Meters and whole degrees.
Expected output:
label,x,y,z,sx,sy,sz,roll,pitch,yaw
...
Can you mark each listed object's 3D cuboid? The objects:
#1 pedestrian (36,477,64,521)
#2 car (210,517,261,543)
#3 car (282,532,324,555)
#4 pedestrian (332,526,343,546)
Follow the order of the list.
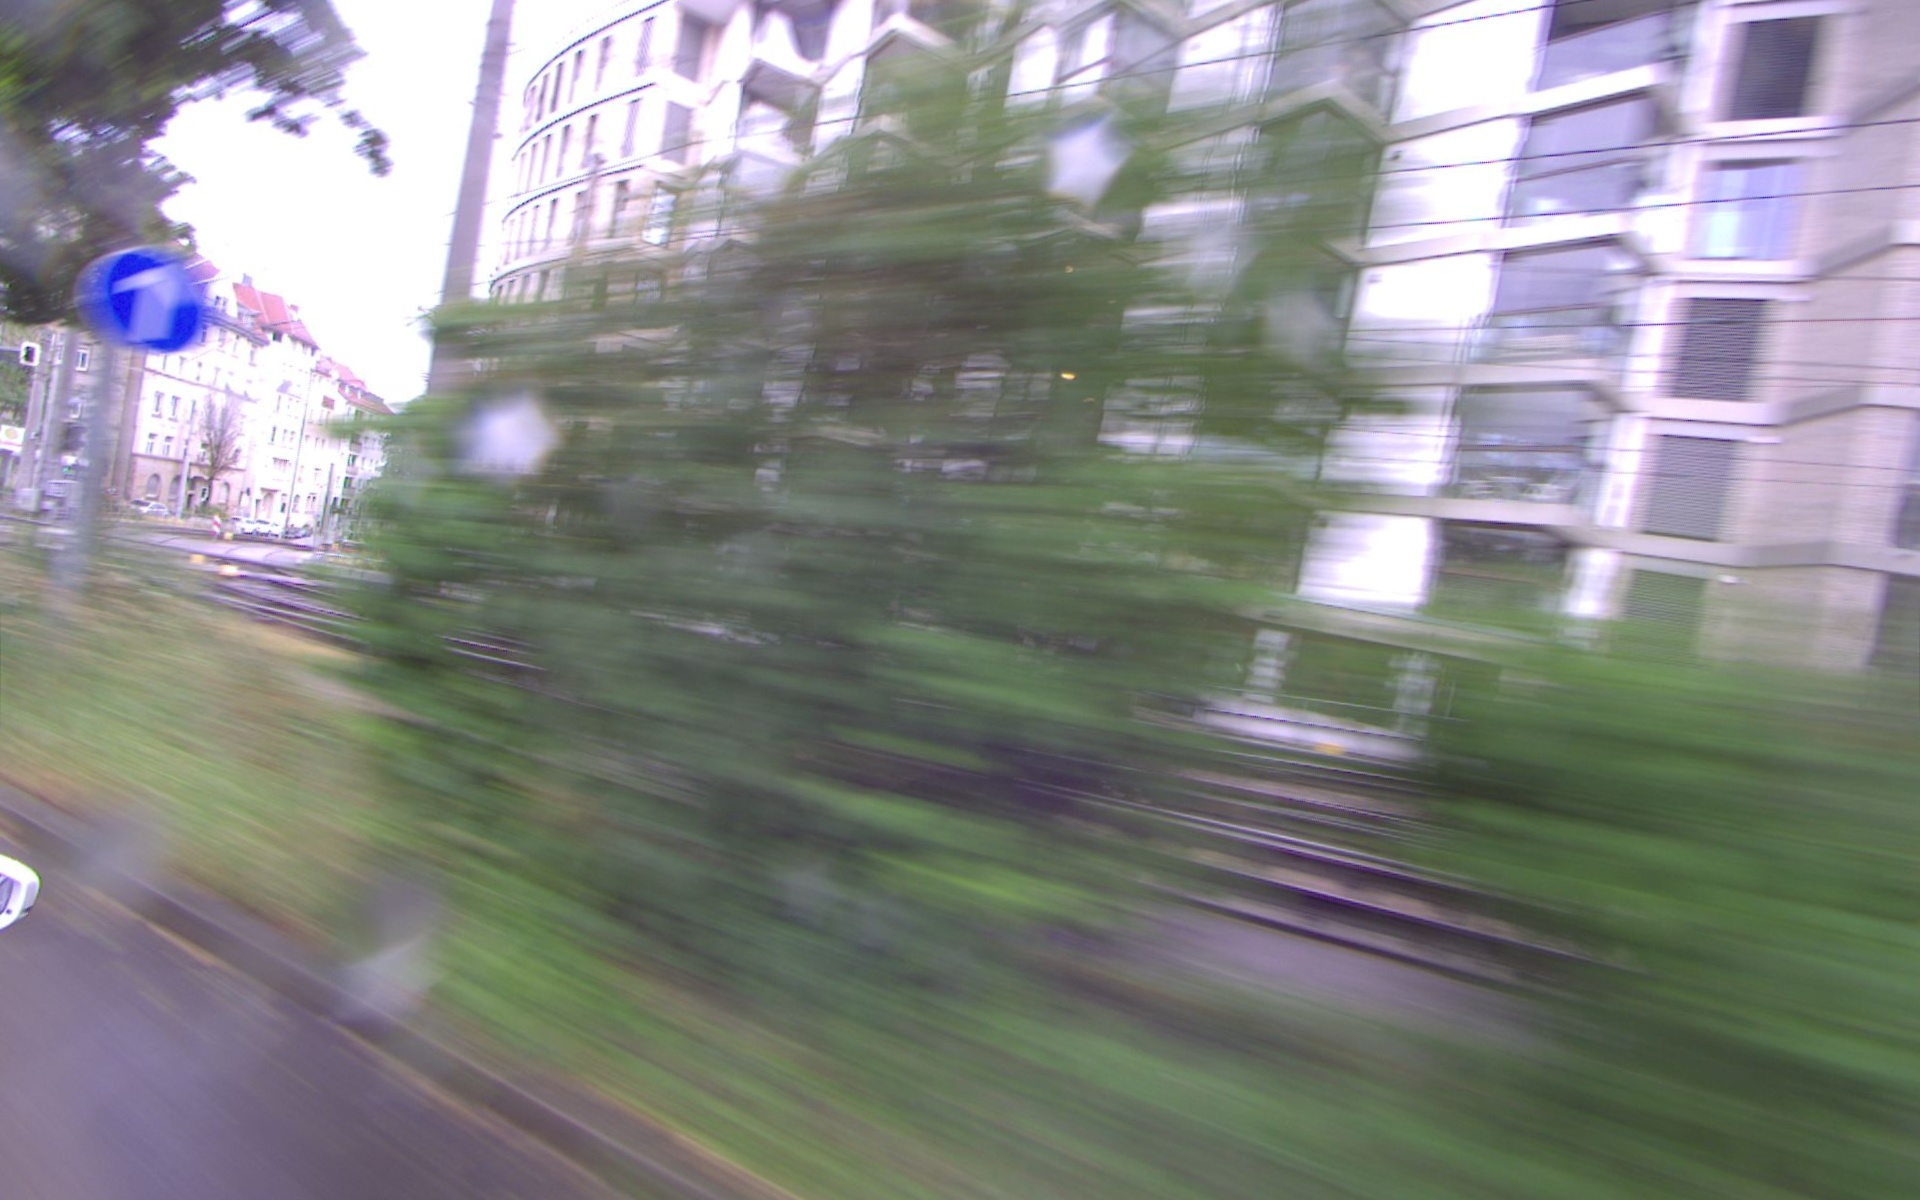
label,x,y,z,sx,sy,sz,roll,pitch,yaw
pedestrian,-39.491,-4.387,43.651,0.571,1.772,0.540,9,-1,-27
car,-65.117,-6.244,90.486,1.972,1.548,4.523,12,-4,-15
car,-68.437,-5.862,104.920,1.969,1.751,4.805,8,-3,-13
pedestrian,-60.987,-6.243,98.532,0.554,1.871,0.597,7,-1,-16
